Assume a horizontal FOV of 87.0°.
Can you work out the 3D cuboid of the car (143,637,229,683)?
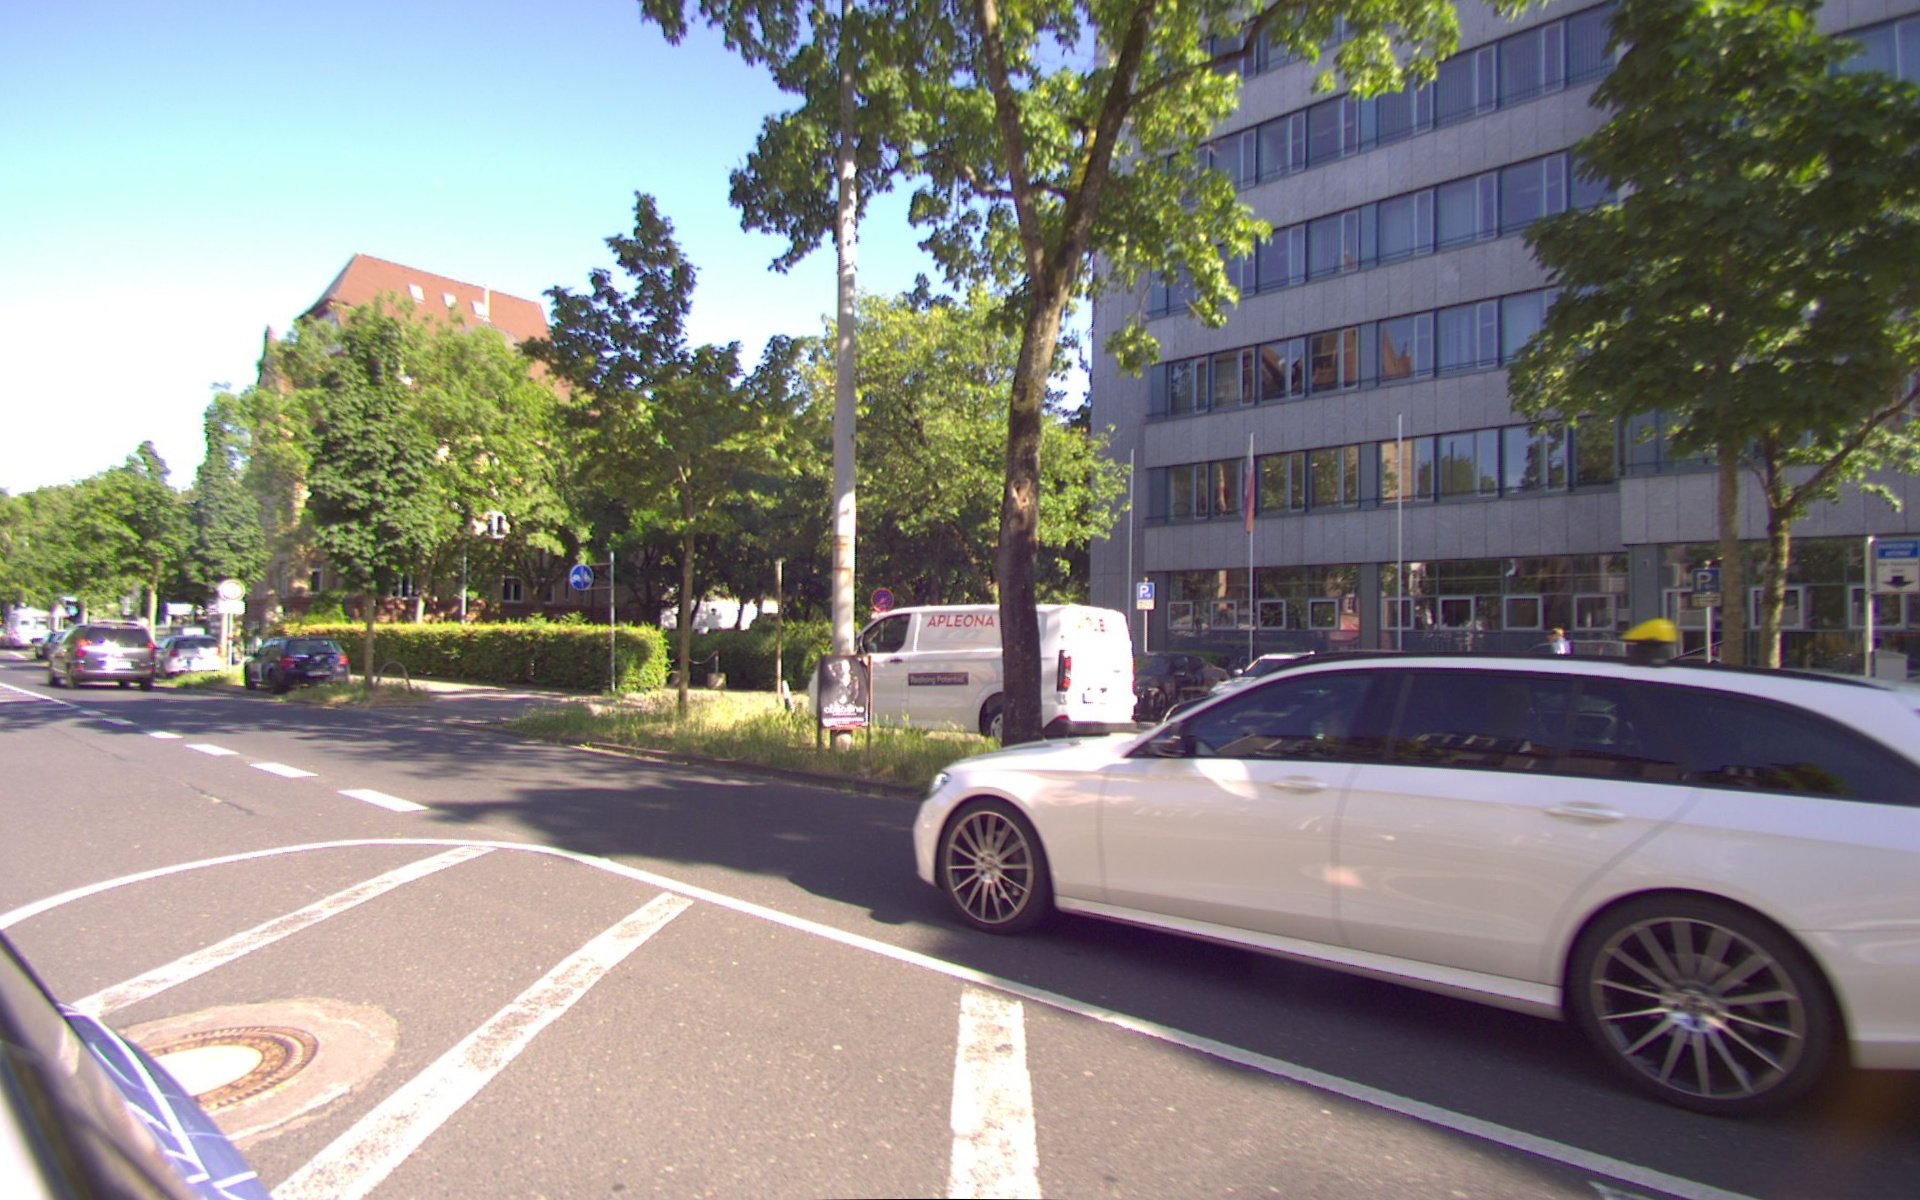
[{"bbox_3d":[-25.981,1.970,33.916,4.192,1.394,1.669,-2,-1,44],"label":"car"}]

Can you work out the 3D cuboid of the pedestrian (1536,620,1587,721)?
[{"bbox_3d":[12.955,1.489,21.803,0.792,2.109,0.763,-1,-1,42],"label":"pedestrian"}]

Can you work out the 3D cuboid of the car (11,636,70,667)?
[{"bbox_3d":[-48.350,2.676,53.179,4.718,1.438,1.836,-2,0,42],"label":"car"}]

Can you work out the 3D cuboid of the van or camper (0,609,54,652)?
[{"bbox_3d":[-63.100,2.108,68.262,6.085,2.760,2.193,-2,-4,41],"label":"van or camper"}]

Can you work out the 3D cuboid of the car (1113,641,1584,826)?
[{"bbox_3d":[3.920,1.217,10.726,4.318,1.534,1.762,-2,-3,43],"label":"car"}]

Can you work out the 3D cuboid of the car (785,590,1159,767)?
[{"bbox_3d":[0.030,1.056,14.418,5.190,2.092,1.962,-2,-5,39],"label":"car"}]

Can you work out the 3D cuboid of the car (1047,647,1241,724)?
[{"bbox_3d":[4.211,1.824,22.691,4.616,1.524,2.010,2,-3,-45],"label":"car"}]

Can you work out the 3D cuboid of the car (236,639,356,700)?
[{"bbox_3d":[-17.530,1.768,26.658,4.071,1.470,1.693,-2,-3,43],"label":"car"}]

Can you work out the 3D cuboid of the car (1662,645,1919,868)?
[{"bbox_3d":[7.851,1.121,7.378,4.316,1.534,1.836,-2,-2,41],"label":"car"}]

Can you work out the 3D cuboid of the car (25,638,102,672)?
[{"bbox_3d":[-43.717,2.653,49.326,4.697,1.505,1.839,-2,0,36],"label":"car"}]

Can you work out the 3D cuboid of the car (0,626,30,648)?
[{"bbox_3d":[-67.436,2.651,71.676,4.659,1.468,1.676,-2,-5,40],"label":"car"}]

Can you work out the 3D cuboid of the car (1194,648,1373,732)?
[{"bbox_3d":[6.707,1.737,20.681,1.936,1.453,4.567,-2,-2,39],"label":"car"}]

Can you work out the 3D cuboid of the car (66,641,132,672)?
[{"bbox_3d":[-37.874,2.446,44.475,4.013,1.265,1.660,-2,-3,42],"label":"car"}]

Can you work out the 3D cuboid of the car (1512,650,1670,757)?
[{"bbox_3d":[11.048,1.676,17.588,1.859,1.534,4.263,-2,-2,38],"label":"car"}]

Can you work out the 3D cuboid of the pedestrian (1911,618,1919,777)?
[{"bbox_3d":[13.187,1.290,13.376,0.779,2.109,0.775,1,-1,-38],"label":"pedestrian"}]

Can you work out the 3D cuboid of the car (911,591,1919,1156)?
[{"bbox_3d":[2.138,0.870,4.572,4.712,1.580,1.837,-2,-6,40],"label":"car"}]

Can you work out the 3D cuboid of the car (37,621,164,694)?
[{"bbox_3d":[-23.632,1.568,27.774,4.606,1.839,1.837,-2,-5,40],"label":"car"}]
